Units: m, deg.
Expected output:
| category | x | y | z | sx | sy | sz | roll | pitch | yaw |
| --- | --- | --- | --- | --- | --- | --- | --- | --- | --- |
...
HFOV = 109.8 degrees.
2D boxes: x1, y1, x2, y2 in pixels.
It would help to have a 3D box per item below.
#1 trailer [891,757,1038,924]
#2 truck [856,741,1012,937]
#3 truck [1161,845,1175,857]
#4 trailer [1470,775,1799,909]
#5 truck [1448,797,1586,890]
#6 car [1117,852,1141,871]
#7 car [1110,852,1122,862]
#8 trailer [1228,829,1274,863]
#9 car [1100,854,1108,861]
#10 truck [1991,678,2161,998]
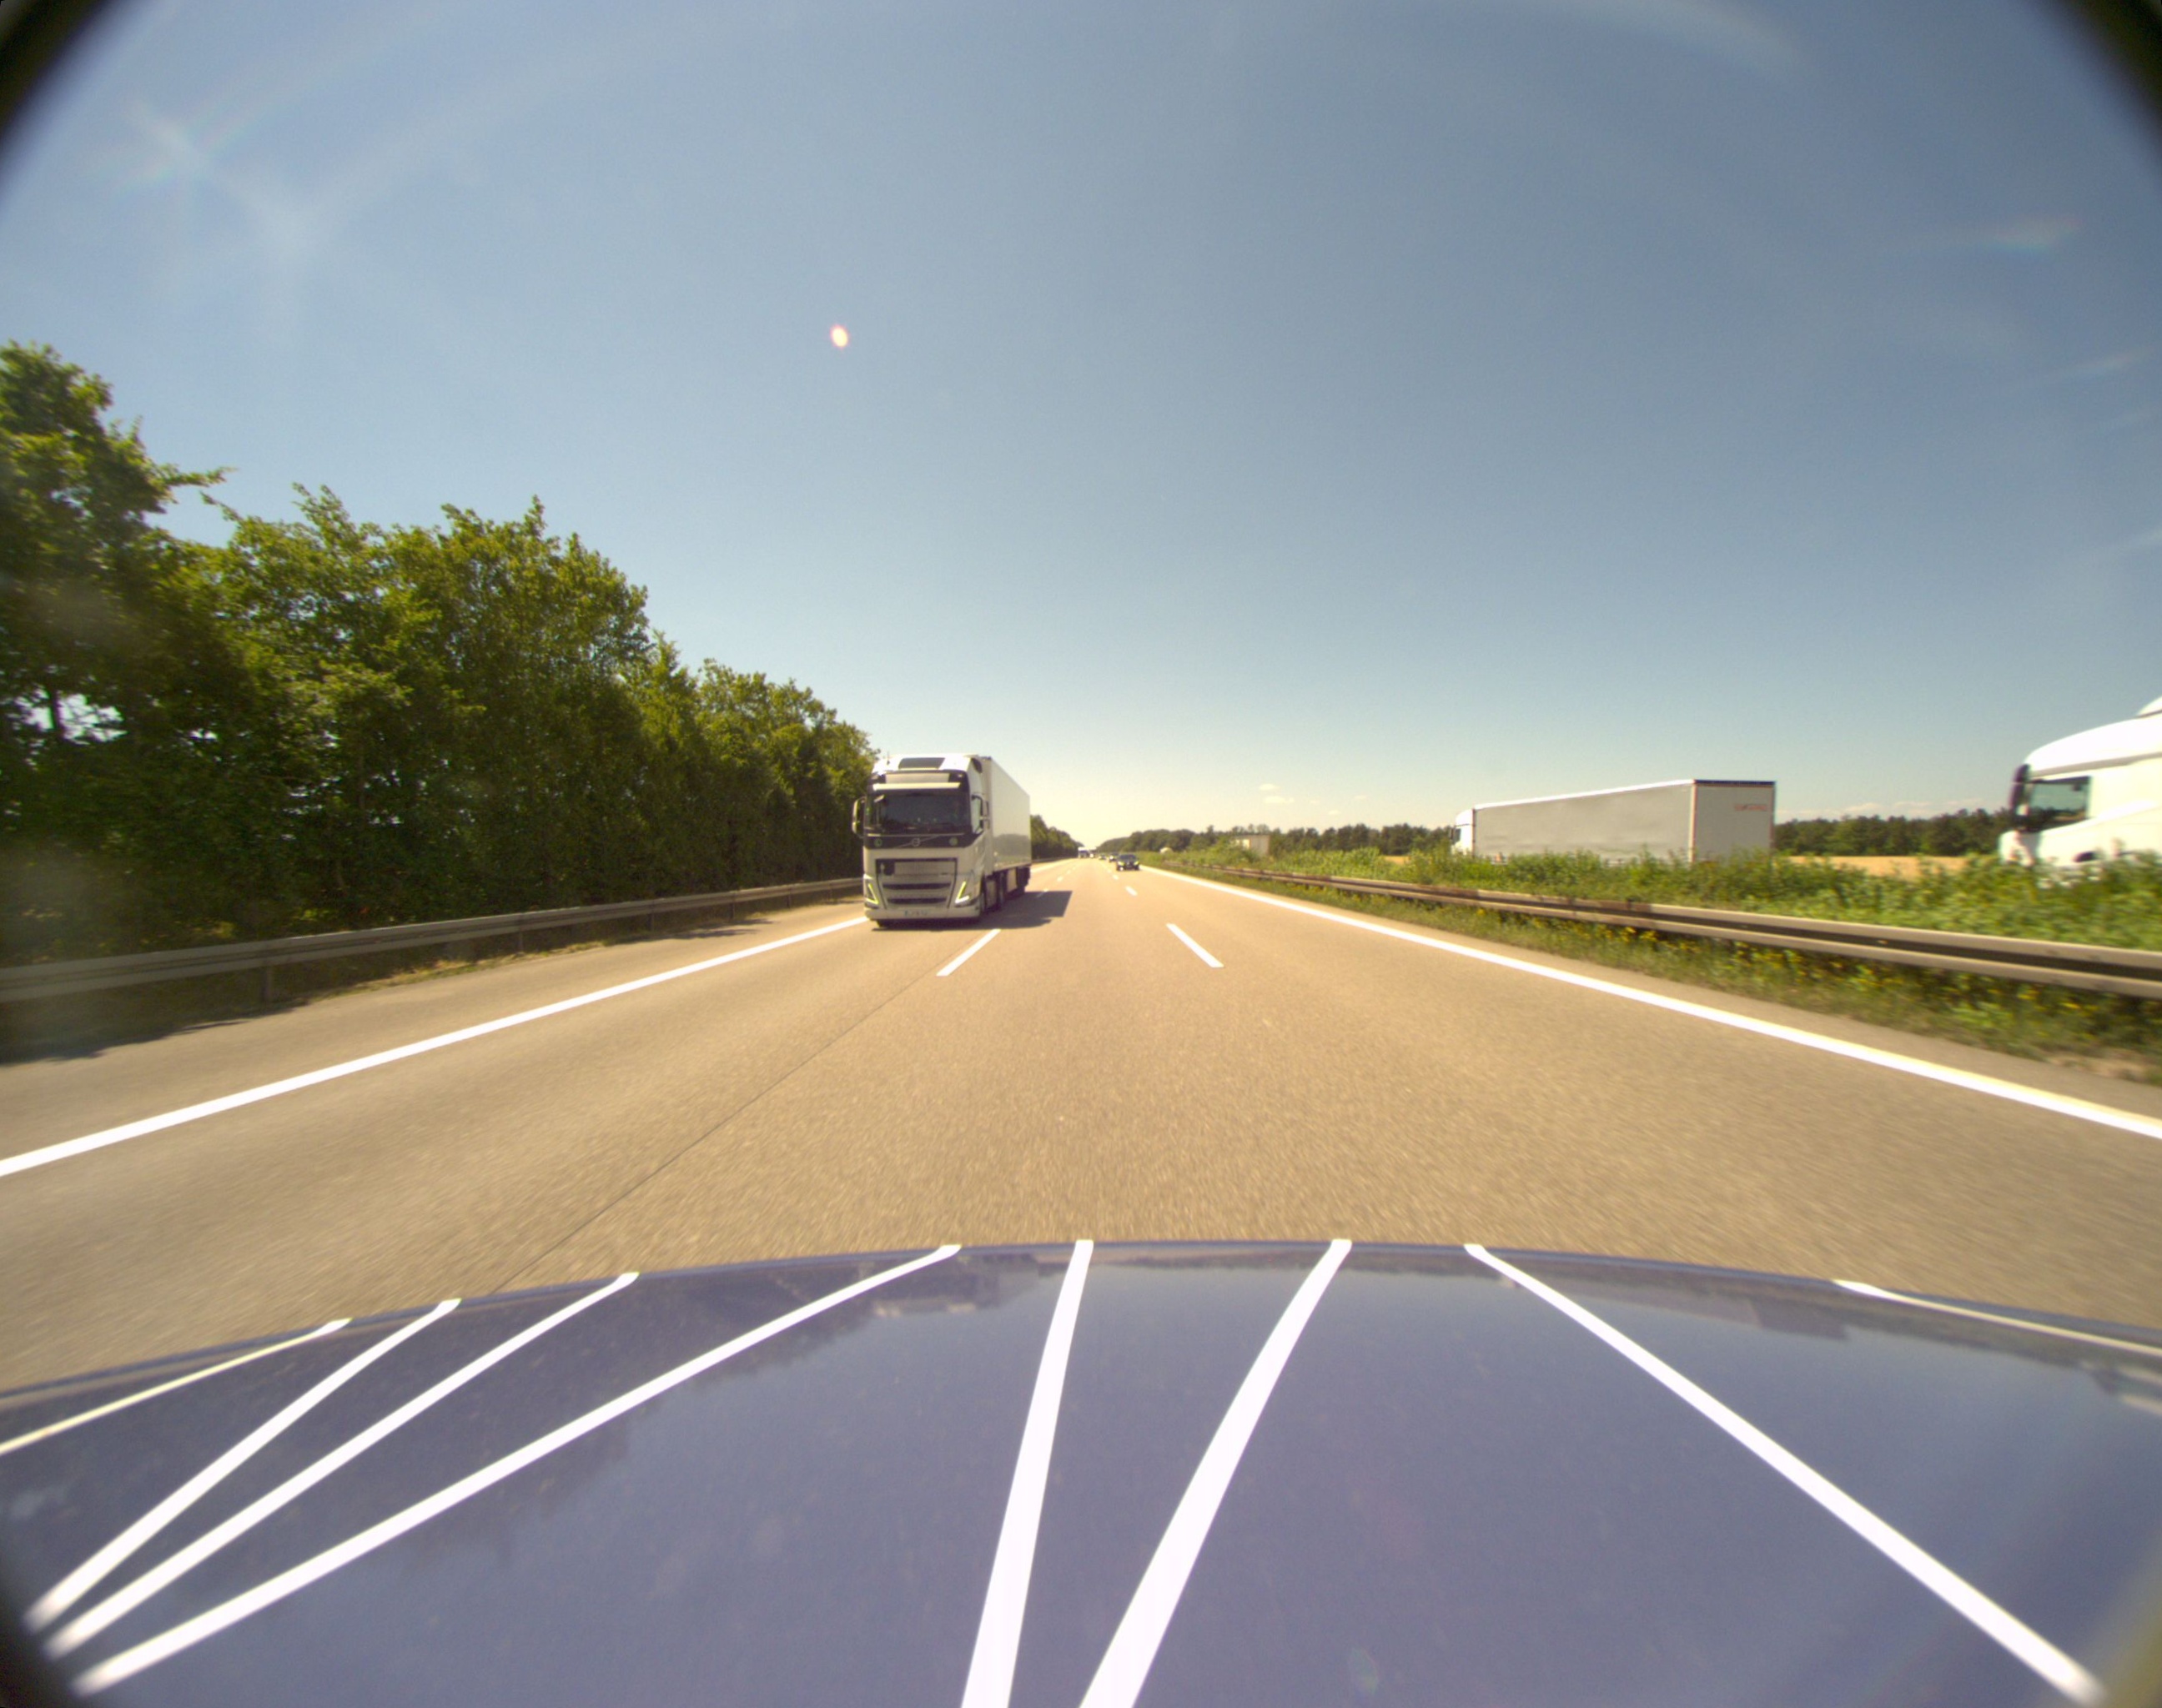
| category | x | y | z | sx | sy | sz | roll | pitch | yaw |
| --- | --- | --- | --- | --- | --- | --- | --- | --- | --- |
| trailer | -3.291 | -0.399 | 25.757 | 2.476 | 4.038 | 13.879 | -2 | 1 | 1 |
| truck | -3.398 | -0.343 | 19.264 | 2.476 | 4.039 | 6.319 | -2 | 1 | 1 |
| truck | 24.645 | -0.886 | 214.849 | 2.575 | 3.105 | 13.120 | -2 | 1 | 1 |
| trailer | 20.842 | -0.432 | 30.723 | 2.962 | 4.035 | 14.324 | -2 | 1 | 1 |
| truck | 20.944 | -0.499 | 37.000 | 2.959 | 4.039 | 6.538 | -2 | 1 | 1 |
| car | 4.071 | 0.624 | 64.914 | 1.811 | 1.459 | 4.000 | -2 | 1 | 1 |
| car | 5.547 | 0.433 | 121.520 | 1.811 | 1.417 | 4.000 | -2 | 1 | 1 |
| trailer | 22.190 | -1.090 | 100.149 | 3.066 | 4.035 | 13.955 | -2 | 1 | 1 |
| car | 5.290 | 0.866 | 175.899 | 1.811 | 1.417 | 4.000 | -2 | 1 | 1 |
| truck | 16.558 | -0.260 | 9.375 | 2.828 | 4.500 | 6.538 | -2 | 1 | 1 |
